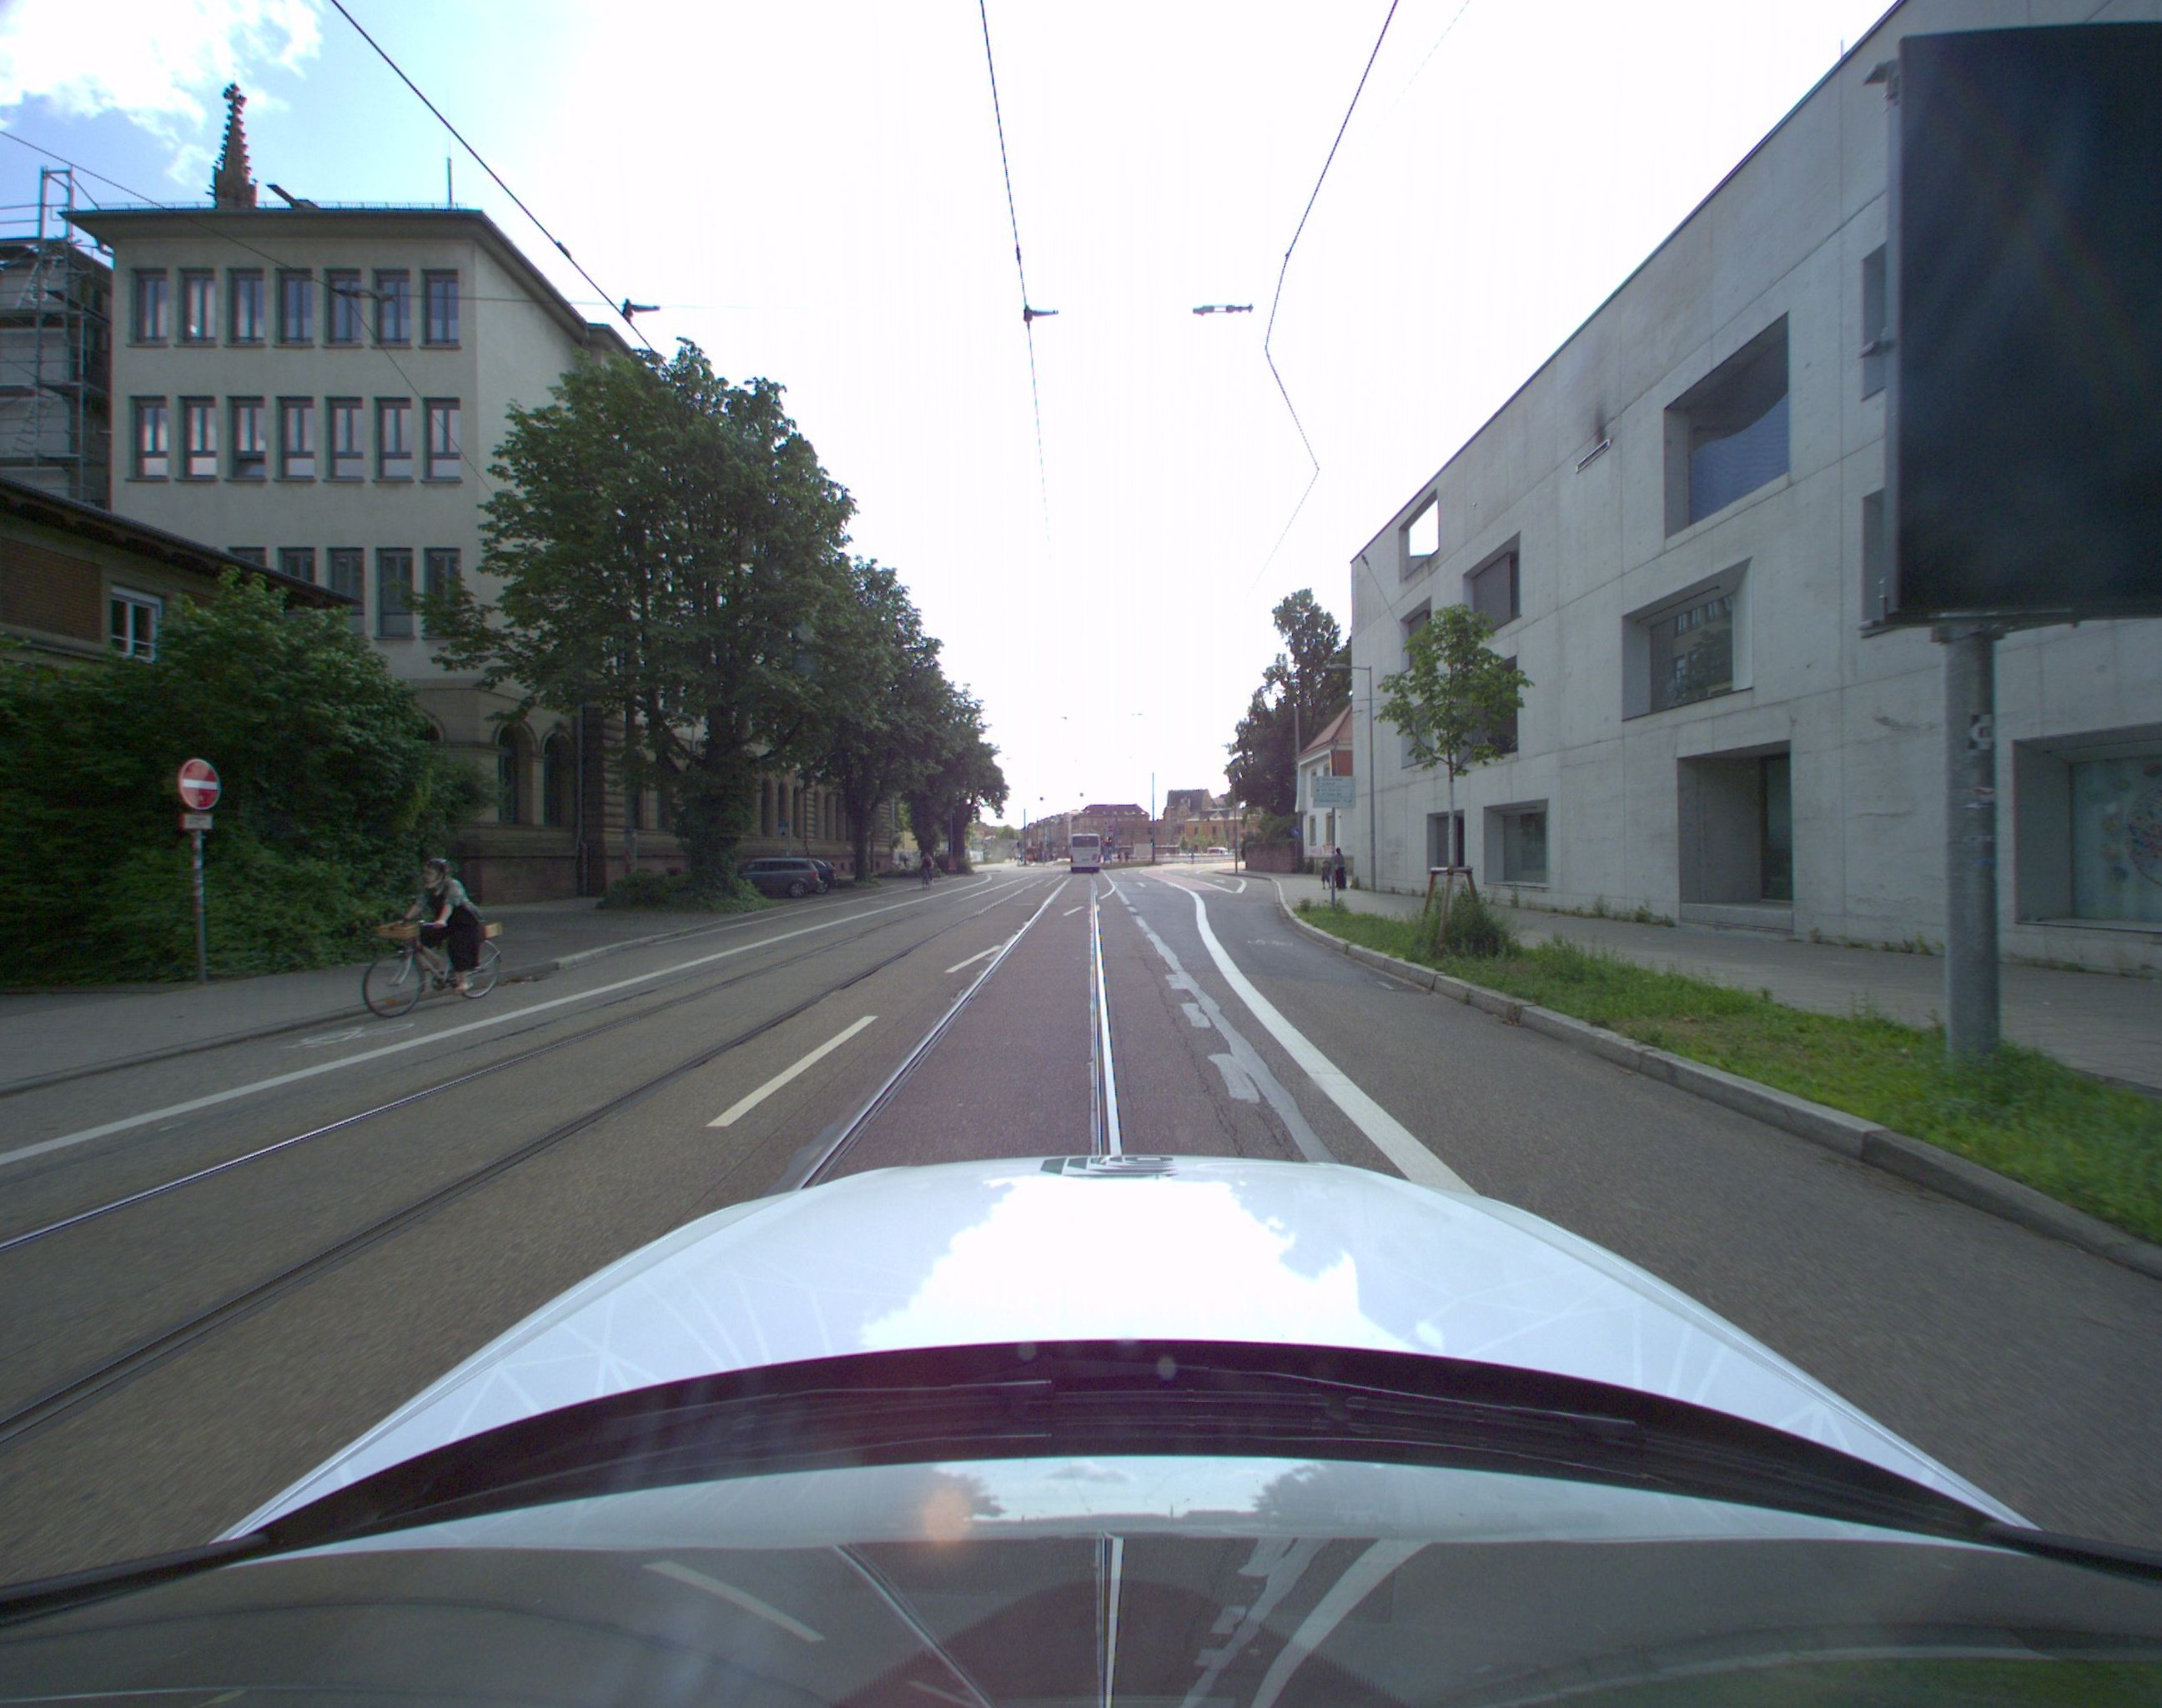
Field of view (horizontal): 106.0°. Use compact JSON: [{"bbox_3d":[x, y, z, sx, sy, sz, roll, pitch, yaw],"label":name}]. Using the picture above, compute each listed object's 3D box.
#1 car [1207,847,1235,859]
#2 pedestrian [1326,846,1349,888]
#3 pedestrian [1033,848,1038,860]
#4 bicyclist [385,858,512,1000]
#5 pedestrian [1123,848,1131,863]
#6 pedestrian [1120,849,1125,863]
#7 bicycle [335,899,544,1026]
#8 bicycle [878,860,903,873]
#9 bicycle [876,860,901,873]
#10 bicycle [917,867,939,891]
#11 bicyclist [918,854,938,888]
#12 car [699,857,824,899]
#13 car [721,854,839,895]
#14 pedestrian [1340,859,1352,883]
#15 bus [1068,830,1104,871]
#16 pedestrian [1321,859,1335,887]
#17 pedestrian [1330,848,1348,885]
[{"bbox_3d":[28.676,-0.199,166.794,2.311,2.319,5.528,-1,0,-36],"label":"car"},{"bbox_3d":[10.735,0.529,34.064,0.682,1.724,0.747,-2,1,1],"label":"pedestrian"},{"bbox_3d":[-6.842,0.006,123.006,0.609,1.885,0.794,-1,0,1],"label":"pedestrian"},{"bbox_3d":[-7.274,0.831,9.407,0.597,1.492,0.883,-6,0,3],"label":"bicyclist"},{"bbox_3d":[6.052,0.221,106.802,0.605,1.885,0.799,-1,0,40],"label":"pedestrian"},{"bbox_3d":[5.357,0.237,106.171,0.404,1.736,0.625,-1,0,29],"label":"pedestrian"},{"bbox_3d":[-7.242,1.169,9.354,0.600,1.097,2.024,-6,0,3],"label":"bicycle"},{"bbox_3d":[-17.632,1.134,75.467,2.108,1.168,0.730,0,-1,-2],"label":"bicycle"},{"bbox_3d":[-17.573,1.128,74.269,2.108,1.168,0.730,0,-1,-2],"label":"bicycle"},{"bbox_3d":[-6.932,1.112,36.957,0.697,1.017,1.817,-2,0,-3],"label":"bicycle"},{"bbox_3d":[-6.940,0.758,36.932,0.689,1.519,0.867,-2,0,-3],"label":"bicyclist"},{"bbox_3d":[-12.078,0.866,30.791,4.251,1.447,1.778,-1,0,-27],"label":"car"},{"bbox_3d":[-12.344,0.804,33.465,4.255,1.550,1.908,0,0,-31],"label":"car"},{"bbox_3d":[11.405,0.737,35.085,0.342,1.010,0.396,-3,1,-8],"label":"pedestrian"},{"bbox_3d":[0.414,-0.277,73.171,2.908,3.328,12.204,0,0,0],"label":"bus"},{"bbox_3d":[10.761,0.828,35.513,0.424,1.200,0.401,-3,2,-40],"label":"pedestrian"},{"bbox_3d":[11.293,0.526,35.702,0.519,1.580,0.547,-3,1,-9],"label":"pedestrian"}]
